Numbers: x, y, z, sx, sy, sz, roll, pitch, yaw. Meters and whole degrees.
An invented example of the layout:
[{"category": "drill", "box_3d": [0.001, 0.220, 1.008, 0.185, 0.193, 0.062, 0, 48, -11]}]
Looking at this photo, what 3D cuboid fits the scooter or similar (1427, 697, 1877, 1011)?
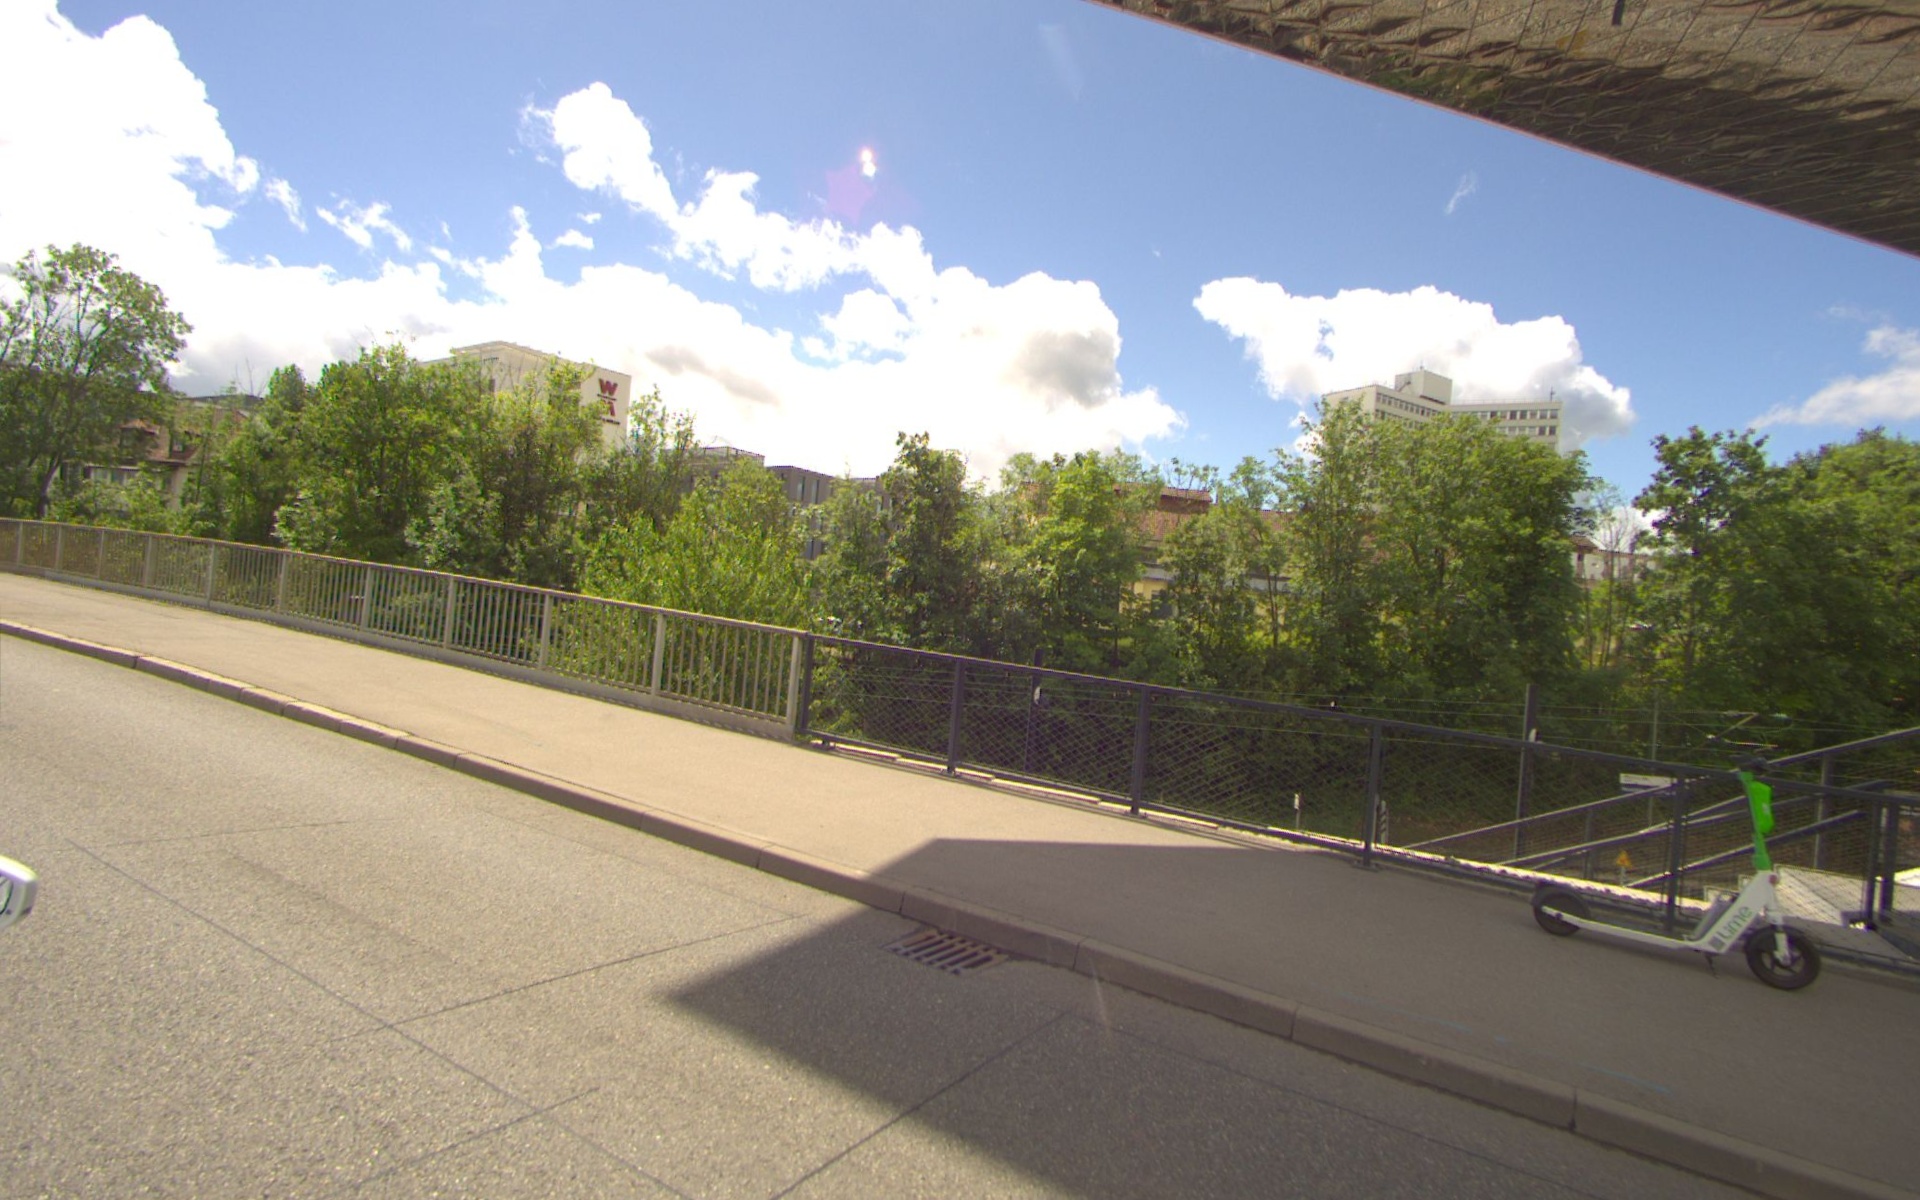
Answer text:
[{"category": "scooter or similar", "box_3d": [3.668, 1.282, 5.534, 1.826, 1.229, 0.654, 6, 1, 31]}]
